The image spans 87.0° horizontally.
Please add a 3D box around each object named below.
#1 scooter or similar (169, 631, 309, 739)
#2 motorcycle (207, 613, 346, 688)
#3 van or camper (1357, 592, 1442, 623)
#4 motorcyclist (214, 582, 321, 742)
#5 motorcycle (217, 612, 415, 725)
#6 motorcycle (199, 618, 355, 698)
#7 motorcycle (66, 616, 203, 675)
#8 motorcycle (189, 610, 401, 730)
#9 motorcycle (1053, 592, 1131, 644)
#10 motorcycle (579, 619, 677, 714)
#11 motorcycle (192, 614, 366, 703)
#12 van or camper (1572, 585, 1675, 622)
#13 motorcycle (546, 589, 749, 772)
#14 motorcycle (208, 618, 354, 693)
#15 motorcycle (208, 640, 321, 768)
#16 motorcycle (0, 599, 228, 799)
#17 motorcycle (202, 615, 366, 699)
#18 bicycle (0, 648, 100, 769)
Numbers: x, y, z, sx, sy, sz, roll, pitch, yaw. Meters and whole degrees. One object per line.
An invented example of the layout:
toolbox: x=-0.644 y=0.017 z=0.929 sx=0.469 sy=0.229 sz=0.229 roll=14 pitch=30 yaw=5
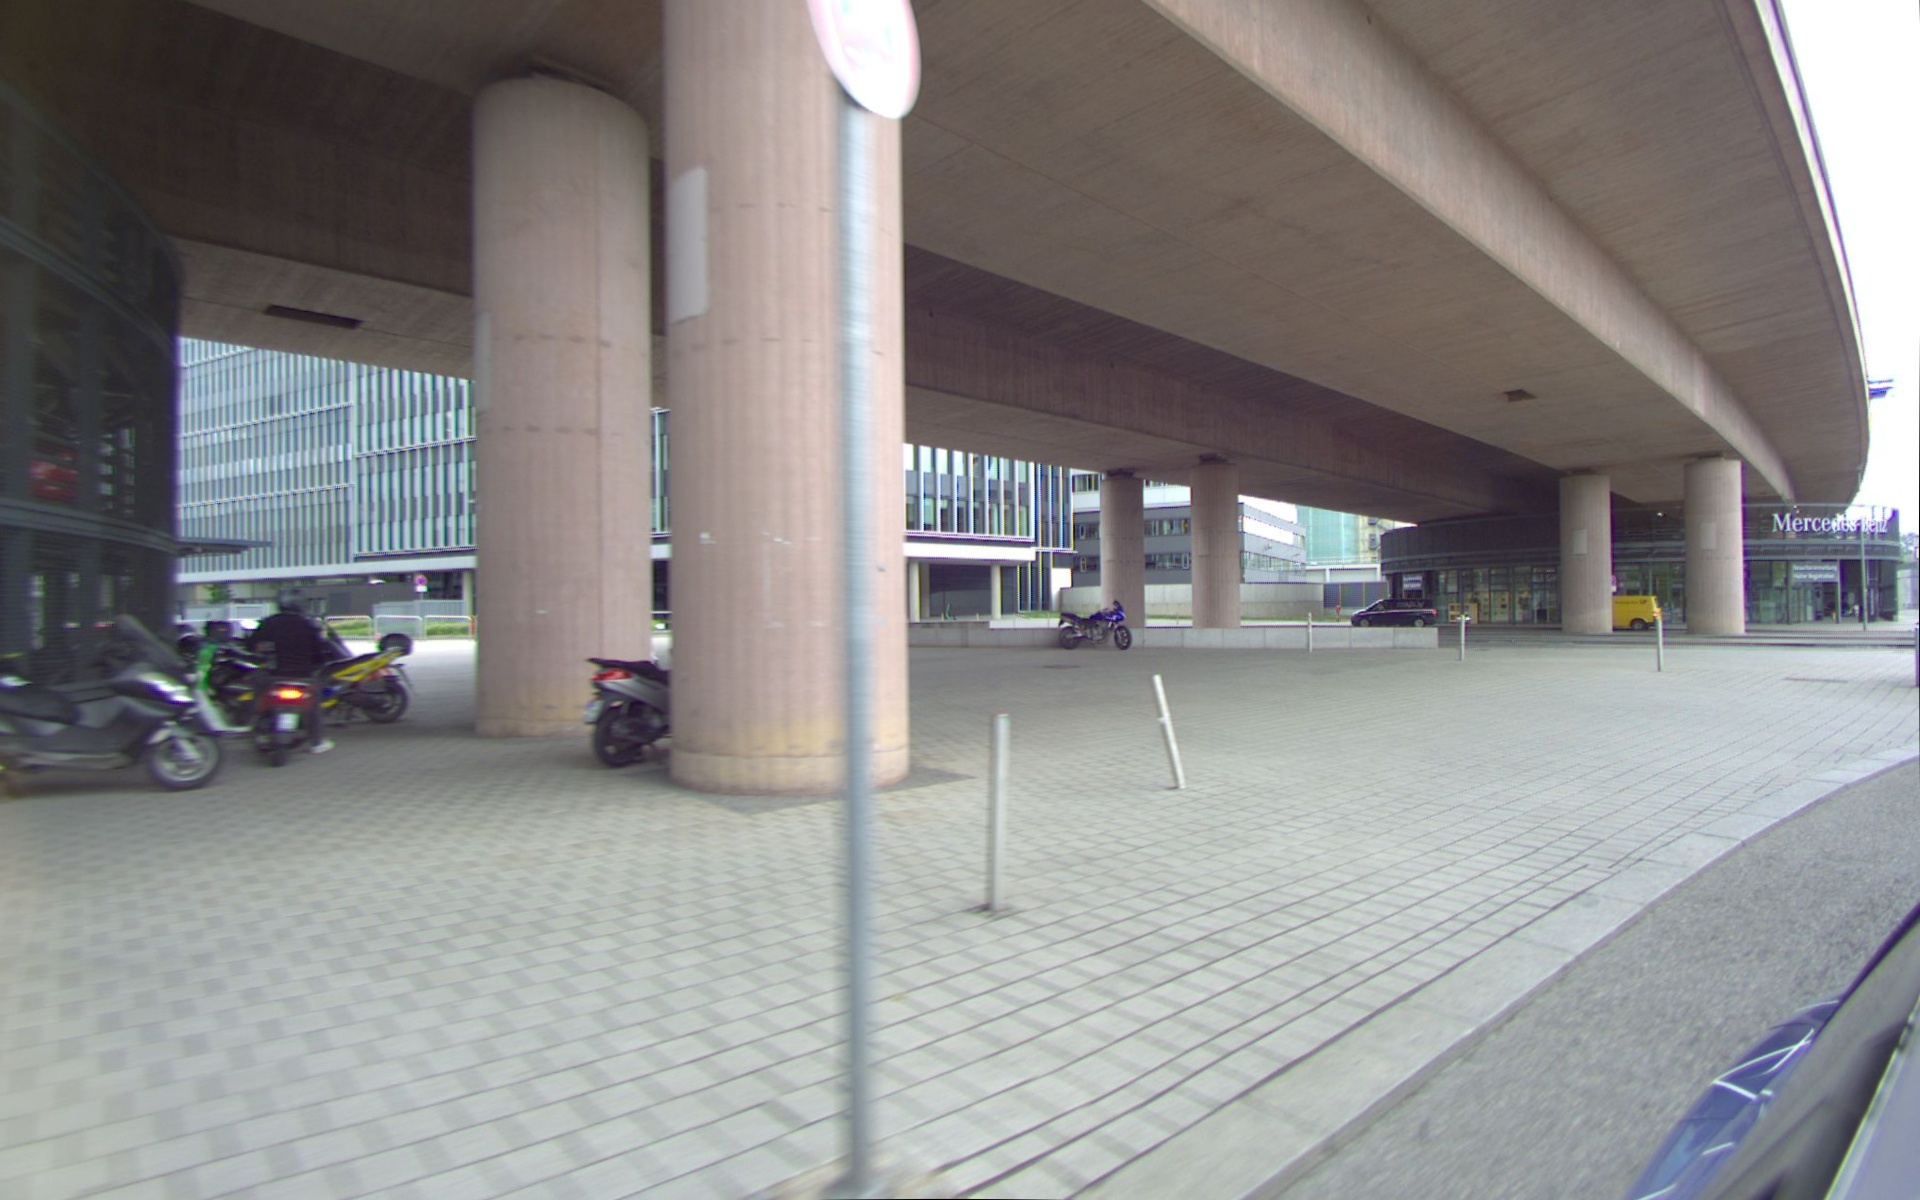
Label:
scooter or similar: x=-8.071 y=0.925 z=11.379 sx=1.226 sy=1.148 sz=0.400 roll=1 pitch=-1 yaw=-31
motorcycle: x=-12.626 y=0.909 z=18.736 sx=2.042 sy=1.302 sz=0.673 roll=1 pitch=-1 yaw=-42
van or camper: x=27.685 y=0.457 z=63.750 sx=4.851 sy=1.917 sz=2.135 roll=0 pitch=-1 yaw=26
motorcyclist: x=-6.598 y=0.567 z=9.685 sx=0.749 sy=1.438 sz=0.870 roll=1 pitch=-1 yaw=-30
motorcycle: x=-8.230 y=0.829 z=12.999 sx=2.092 sy=1.319 sz=0.607 roll=0 pitch=0 yaw=-39
motorcycle: x=-11.219 y=0.922 z=16.664 sx=2.042 sy=1.236 sz=0.673 roll=1 pitch=-1 yaw=-42
motorcycle: x=-18.410 y=0.993 z=22.611 sx=2.322 sy=1.235 sz=0.673 roll=1 pitch=-1 yaw=-42
motorcycle: x=-7.945 y=0.803 z=12.212 sx=2.081 sy=1.327 sz=0.609 roll=0 pitch=0 yaw=-29
motorcycle: x=3.359 y=0.449 z=25.793 sx=1.922 sy=1.281 sz=0.543 roll=0 pitch=-1 yaw=27
motorcycle: x=-4.416 y=0.870 z=13.514 sx=1.127 sy=1.186 sz=0.522 roll=-2 pitch=-1 yaw=-6
motorcycle: x=-10.039 y=0.829 z=14.971 sx=2.042 sy=1.236 sz=0.673 roll=1 pitch=-1 yaw=-42
van or camper: x=37.517 y=0.212 z=57.298 sx=2.322 sy=2.025 sz=4.494 roll=1 pitch=-1 yaw=-43
motorcycle: x=-2.740 y=0.658 z=9.069 sx=0.639 sy=1.473 sz=1.742 roll=0 pitch=-1 yaw=32
motorcycle: x=-11.843 y=0.938 z=17.698 sx=2.042 sy=1.236 sz=0.673 roll=1 pitch=-1 yaw=-42
motorcycle: x=-6.629 y=0.930 z=9.729 sx=0.733 sy=1.035 sz=1.958 roll=1 pitch=-1 yaw=-30
motorcycle: x=-6.913 y=0.717 z=7.691 sx=2.126 sy=1.438 sz=0.632 roll=0 pitch=0 yaw=-29
motorcycle: x=-10.542 y=0.861 z=15.833 sx=2.042 sy=1.236 sz=0.673 roll=1 pitch=-1 yaw=-42
bicycle: x=-8.671 y=0.968 z=9.406 sx=0.442 sy=0.989 sz=1.480 roll=1 pitch=-1 yaw=-16
